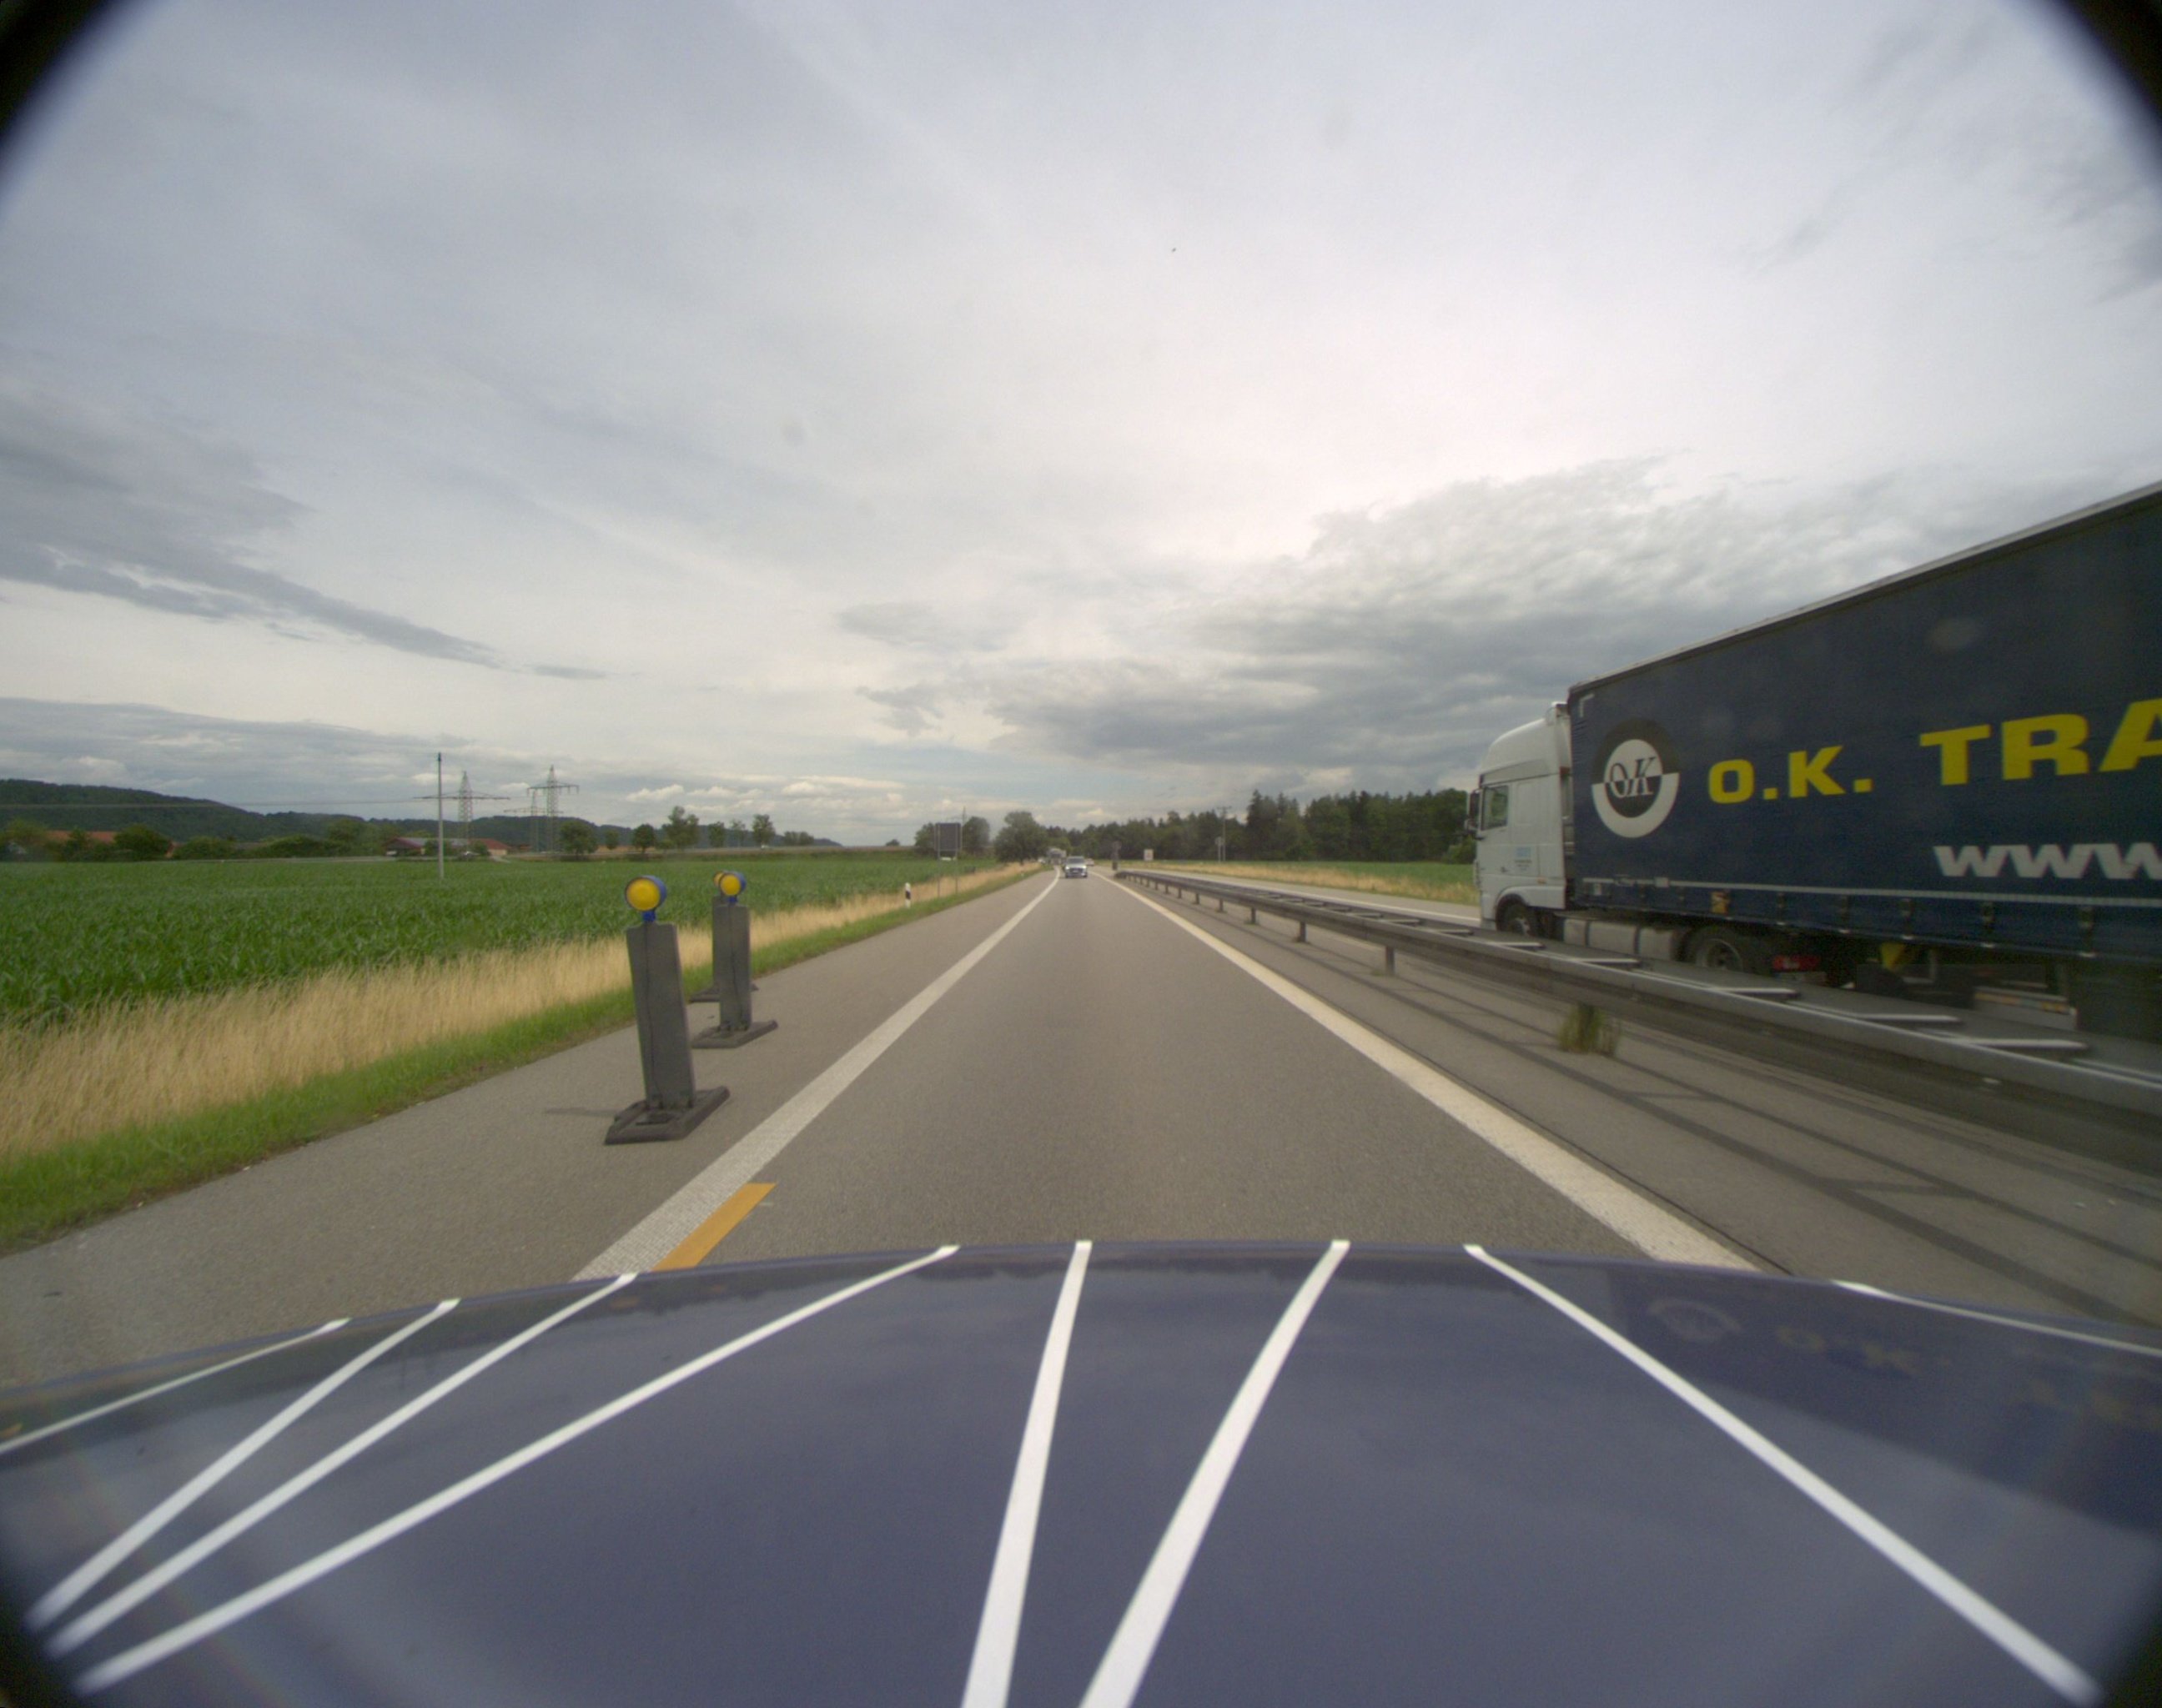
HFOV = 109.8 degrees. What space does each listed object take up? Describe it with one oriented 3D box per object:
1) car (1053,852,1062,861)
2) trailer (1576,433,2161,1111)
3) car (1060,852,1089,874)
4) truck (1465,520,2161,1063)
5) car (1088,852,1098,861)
[{"bbox_3d":[-5.843,0.622,190.901,1.998,2.002,4.000,-2,1,1],"label":"car"},{"bbox_3d":[8.019,-0.520,3.381,2.806,4.149,13.562,-2,1,1],"label":"trailer"},{"bbox_3d":[-0.608,0.778,66.630,1.924,1.823,3.997,-2,1,-8],"label":"car"},{"bbox_3d":[8.048,-0.525,9.482,2.806,4.118,7.227,-2,1,1],"label":"truck"},{"bbox_3d":[2.403,0.434,153.000,1.822,1.623,4.600,-2,1,-3],"label":"car"}]
